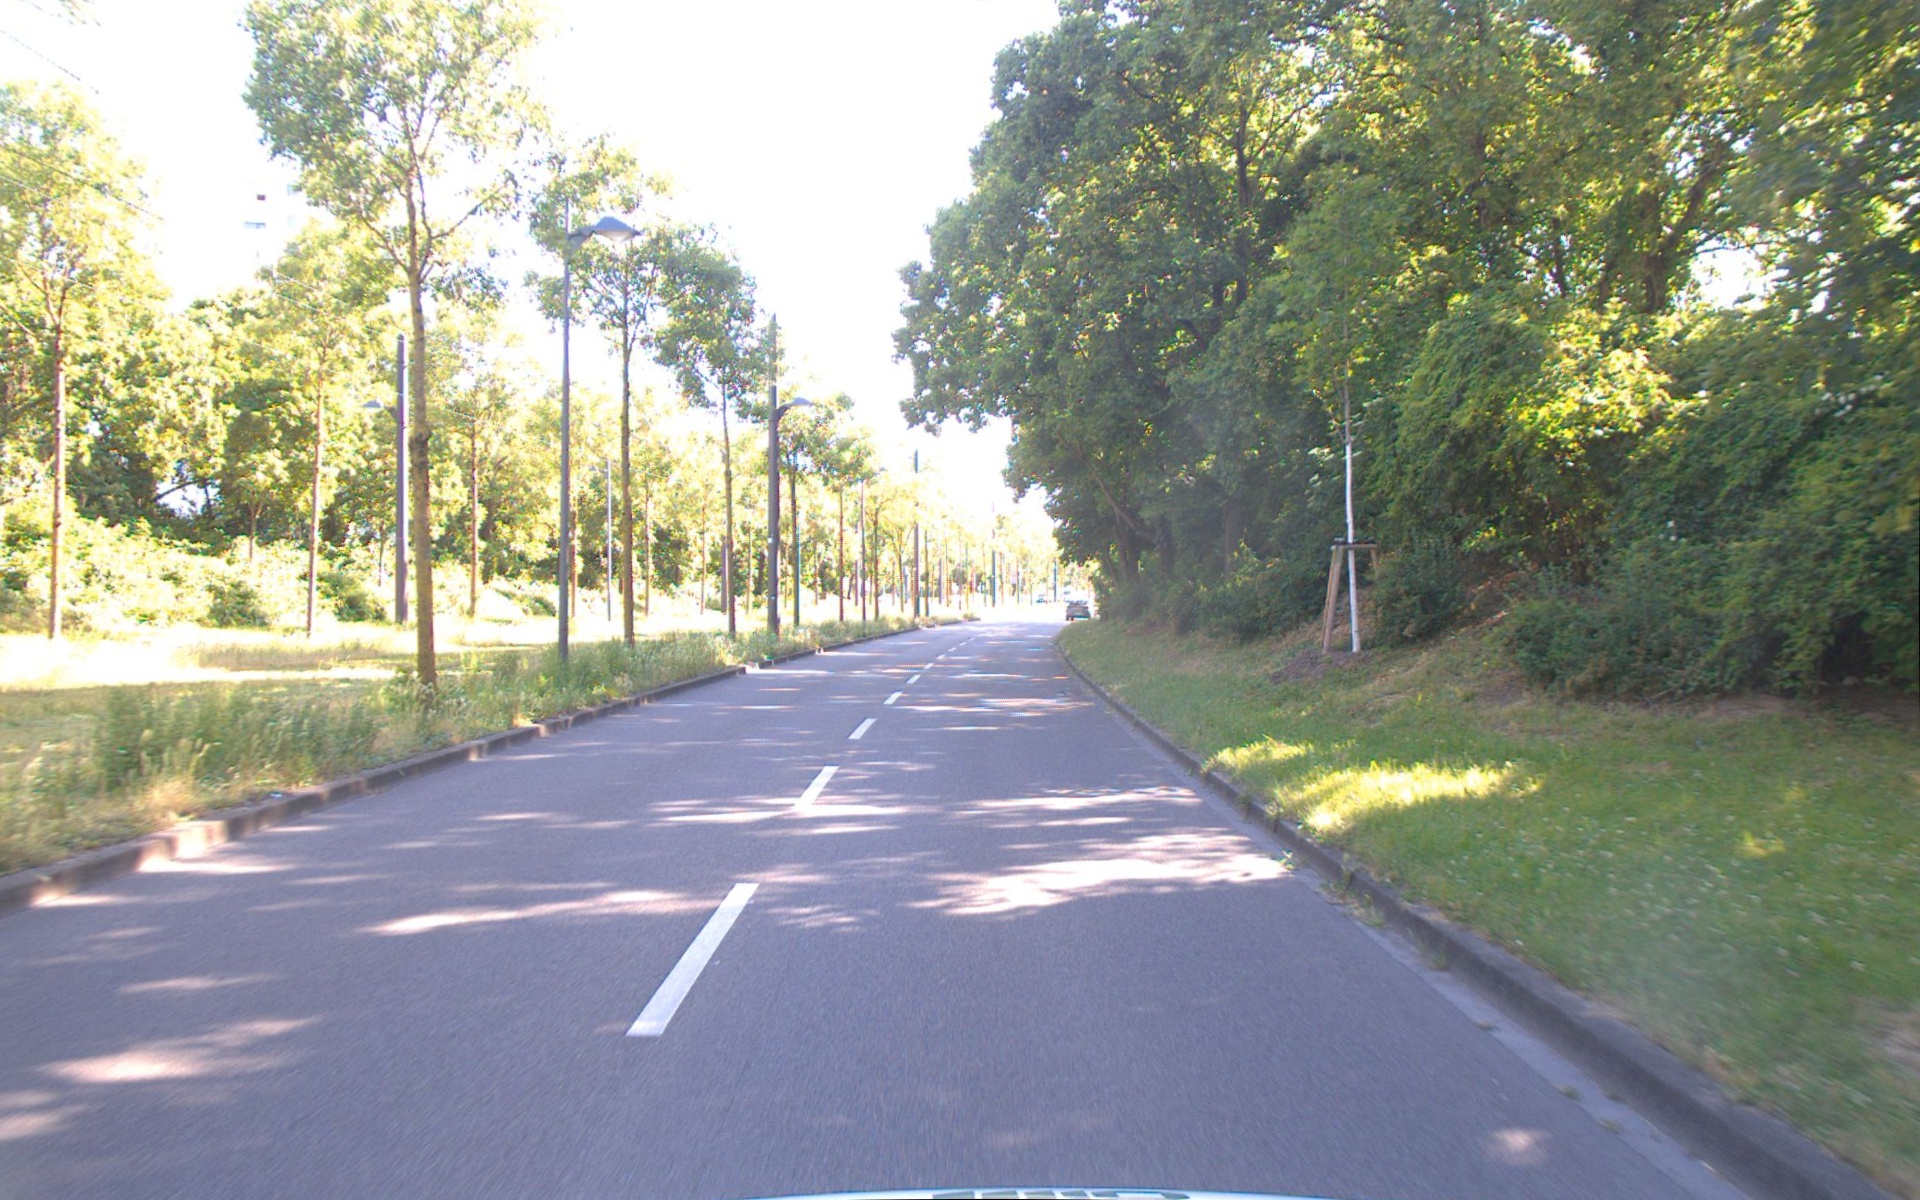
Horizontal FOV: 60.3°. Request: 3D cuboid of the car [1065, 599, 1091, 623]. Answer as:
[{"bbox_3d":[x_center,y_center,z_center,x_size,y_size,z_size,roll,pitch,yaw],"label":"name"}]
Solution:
[{"bbox_3d":[7.991,0.715,111.593,1.599,1.524,4.237,1,0,6],"label":"car"}]
